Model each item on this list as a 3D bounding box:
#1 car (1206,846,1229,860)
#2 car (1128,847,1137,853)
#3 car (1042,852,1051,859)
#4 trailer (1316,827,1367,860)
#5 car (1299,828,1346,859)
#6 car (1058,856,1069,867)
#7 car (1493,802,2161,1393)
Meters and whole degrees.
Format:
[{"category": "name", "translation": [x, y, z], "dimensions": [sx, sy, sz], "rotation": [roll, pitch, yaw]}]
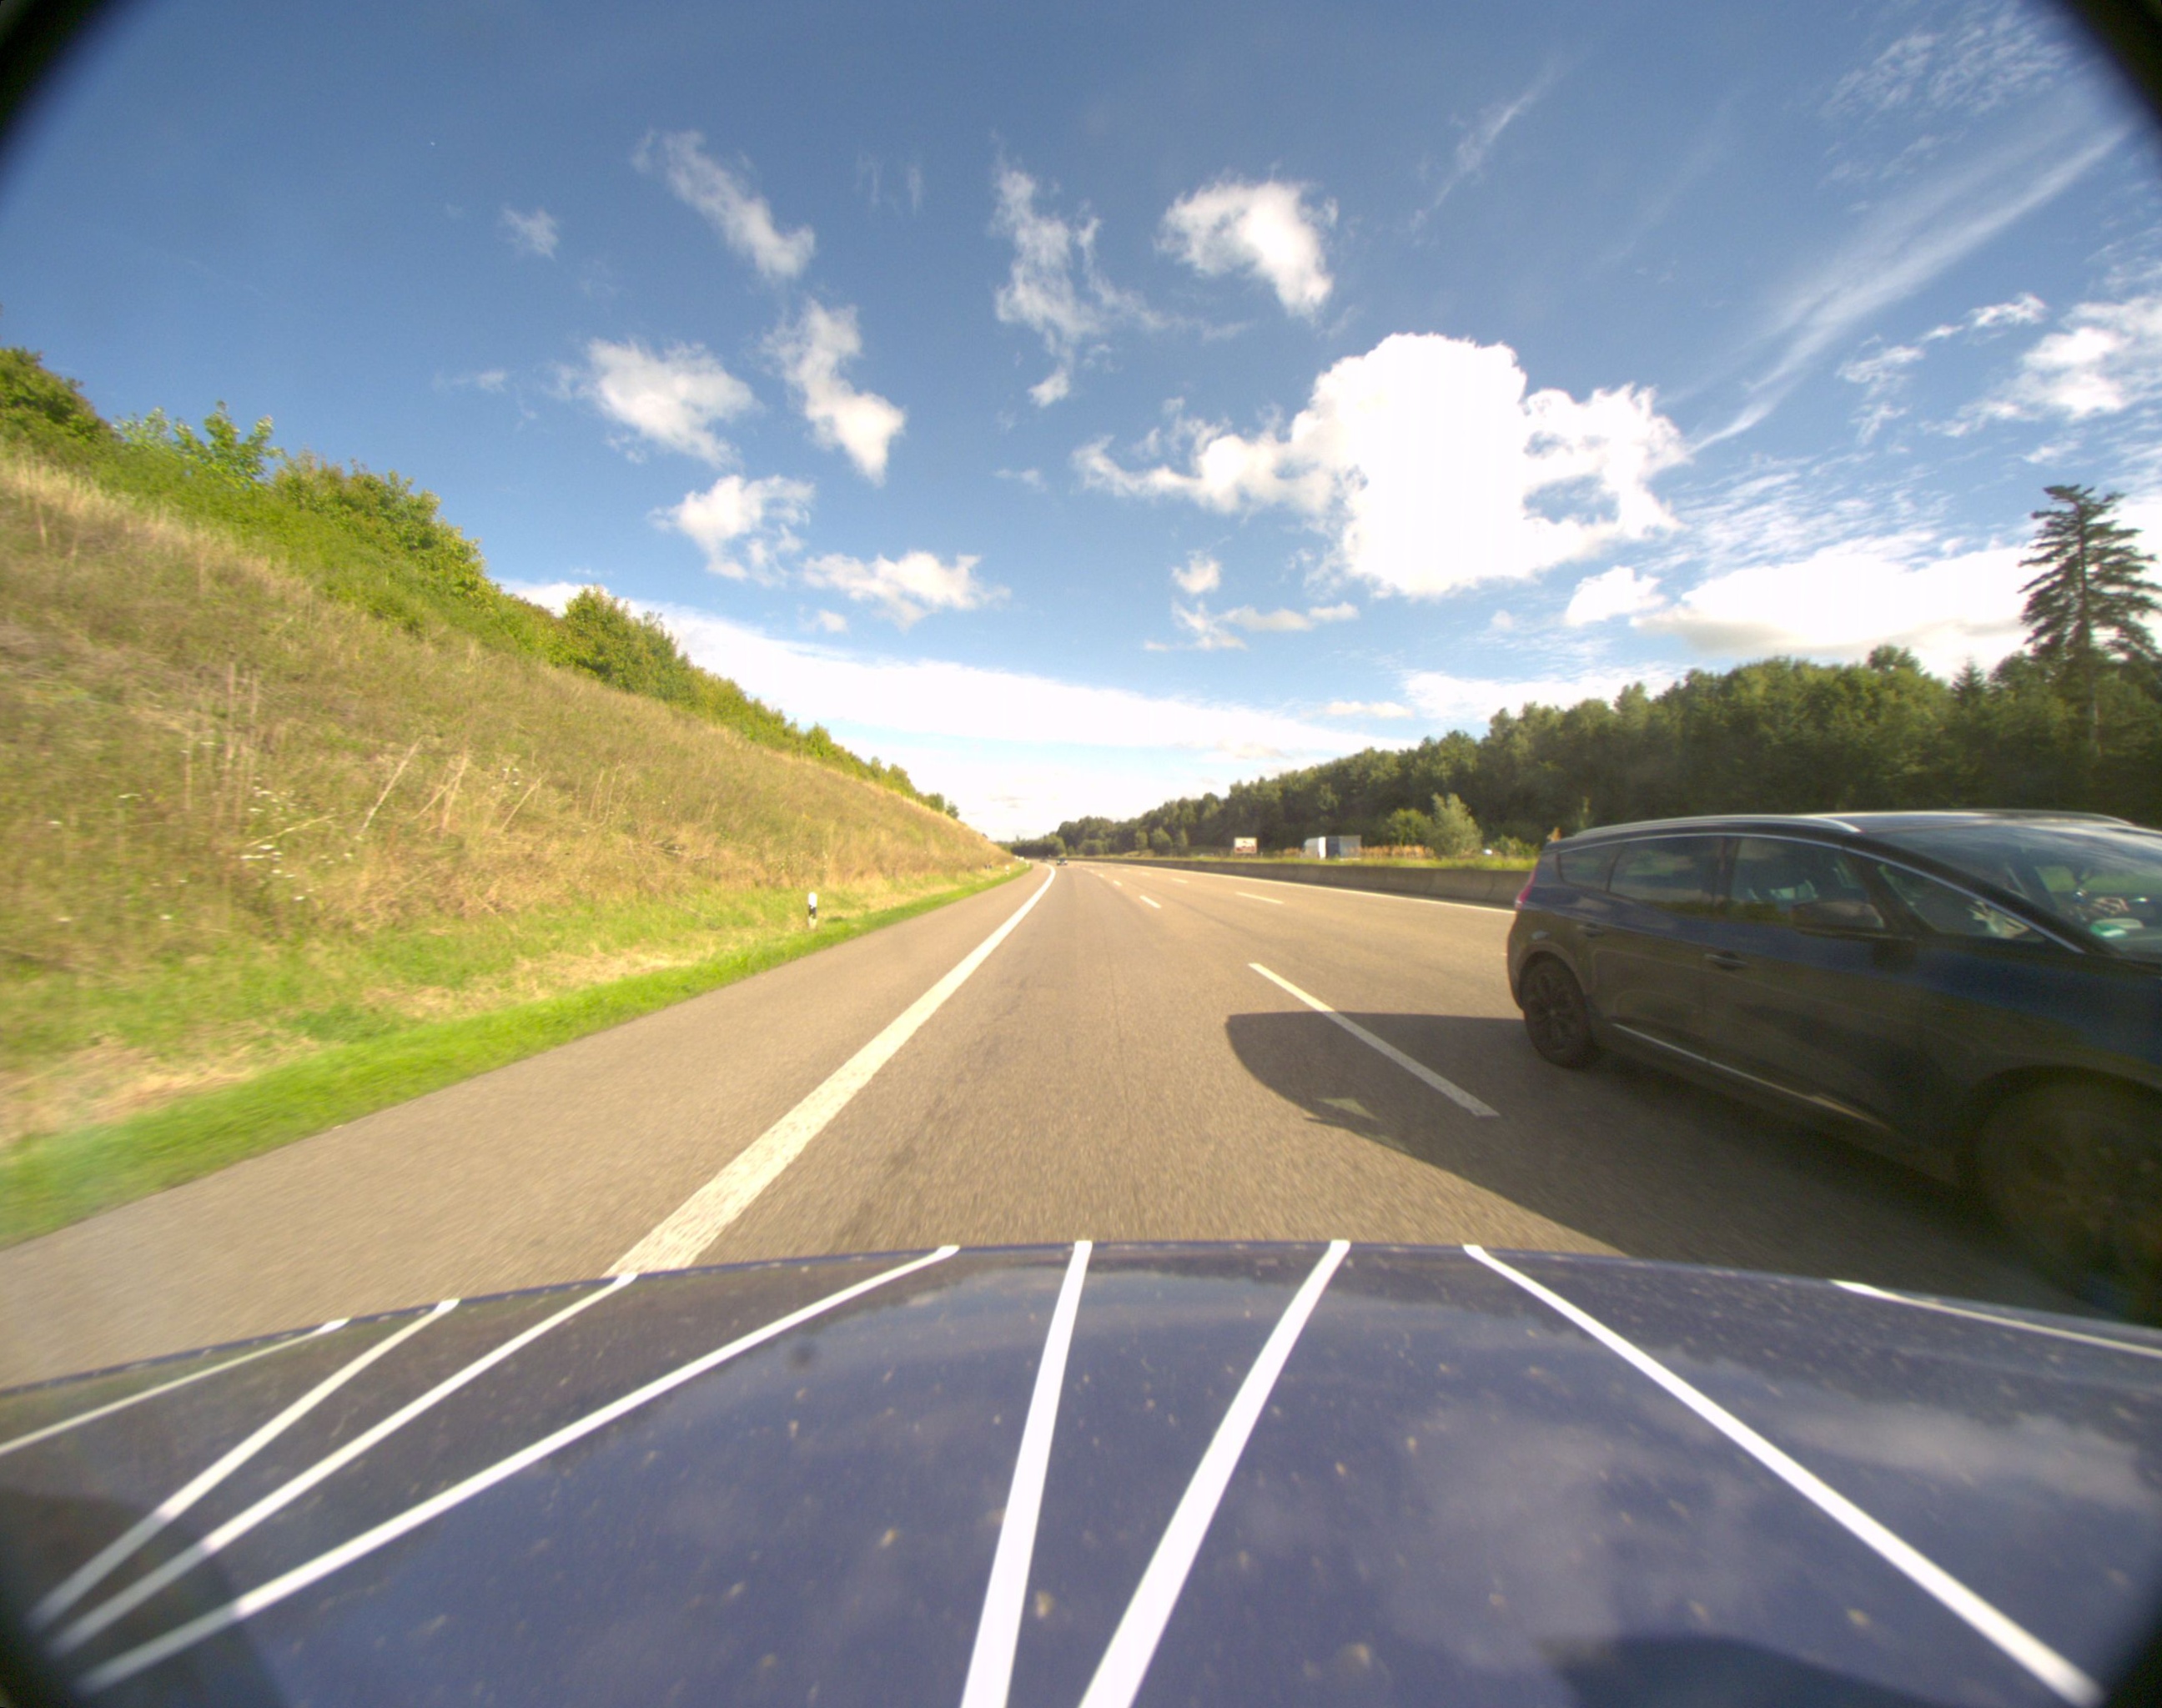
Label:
[{"category": "car", "translation": [15.736, -0.084, 87.570], "dimensions": [1.893, 1.498, 3.574], "rotation": [-2, 0, -1]}, {"category": "car", "translation": [14.189, -1.071, 209.750], "dimensions": [1.999, 1.737, 4.048], "rotation": [-2, 0, -2]}, {"category": "car", "translation": [-9.908, 0.474, 218.044], "dimensions": [2.000, 2.002, 3.997], "rotation": [-3, 1, -7]}, {"category": "trailer", "translation": [22.546, -0.903, 65.969], "dimensions": [2.276, 2.668, 5.561], "rotation": [-2, 0, -2]}, {"category": "car", "translation": [22.415, -0.917, 70.829], "dimensions": [2.276, 2.668, 5.887], "rotation": [-2, 0, -2]}, {"category": "car", "translation": [-3.140, 1.383, 136.835], "dimensions": [1.999, 1.827, 3.998], "rotation": [-2, 1, -2]}, {"category": "car", "translation": [4.074, 0.662, 3.367], "dimensions": [1.998, 1.697, 4.528], "rotation": [-2, 0, 0]}]
